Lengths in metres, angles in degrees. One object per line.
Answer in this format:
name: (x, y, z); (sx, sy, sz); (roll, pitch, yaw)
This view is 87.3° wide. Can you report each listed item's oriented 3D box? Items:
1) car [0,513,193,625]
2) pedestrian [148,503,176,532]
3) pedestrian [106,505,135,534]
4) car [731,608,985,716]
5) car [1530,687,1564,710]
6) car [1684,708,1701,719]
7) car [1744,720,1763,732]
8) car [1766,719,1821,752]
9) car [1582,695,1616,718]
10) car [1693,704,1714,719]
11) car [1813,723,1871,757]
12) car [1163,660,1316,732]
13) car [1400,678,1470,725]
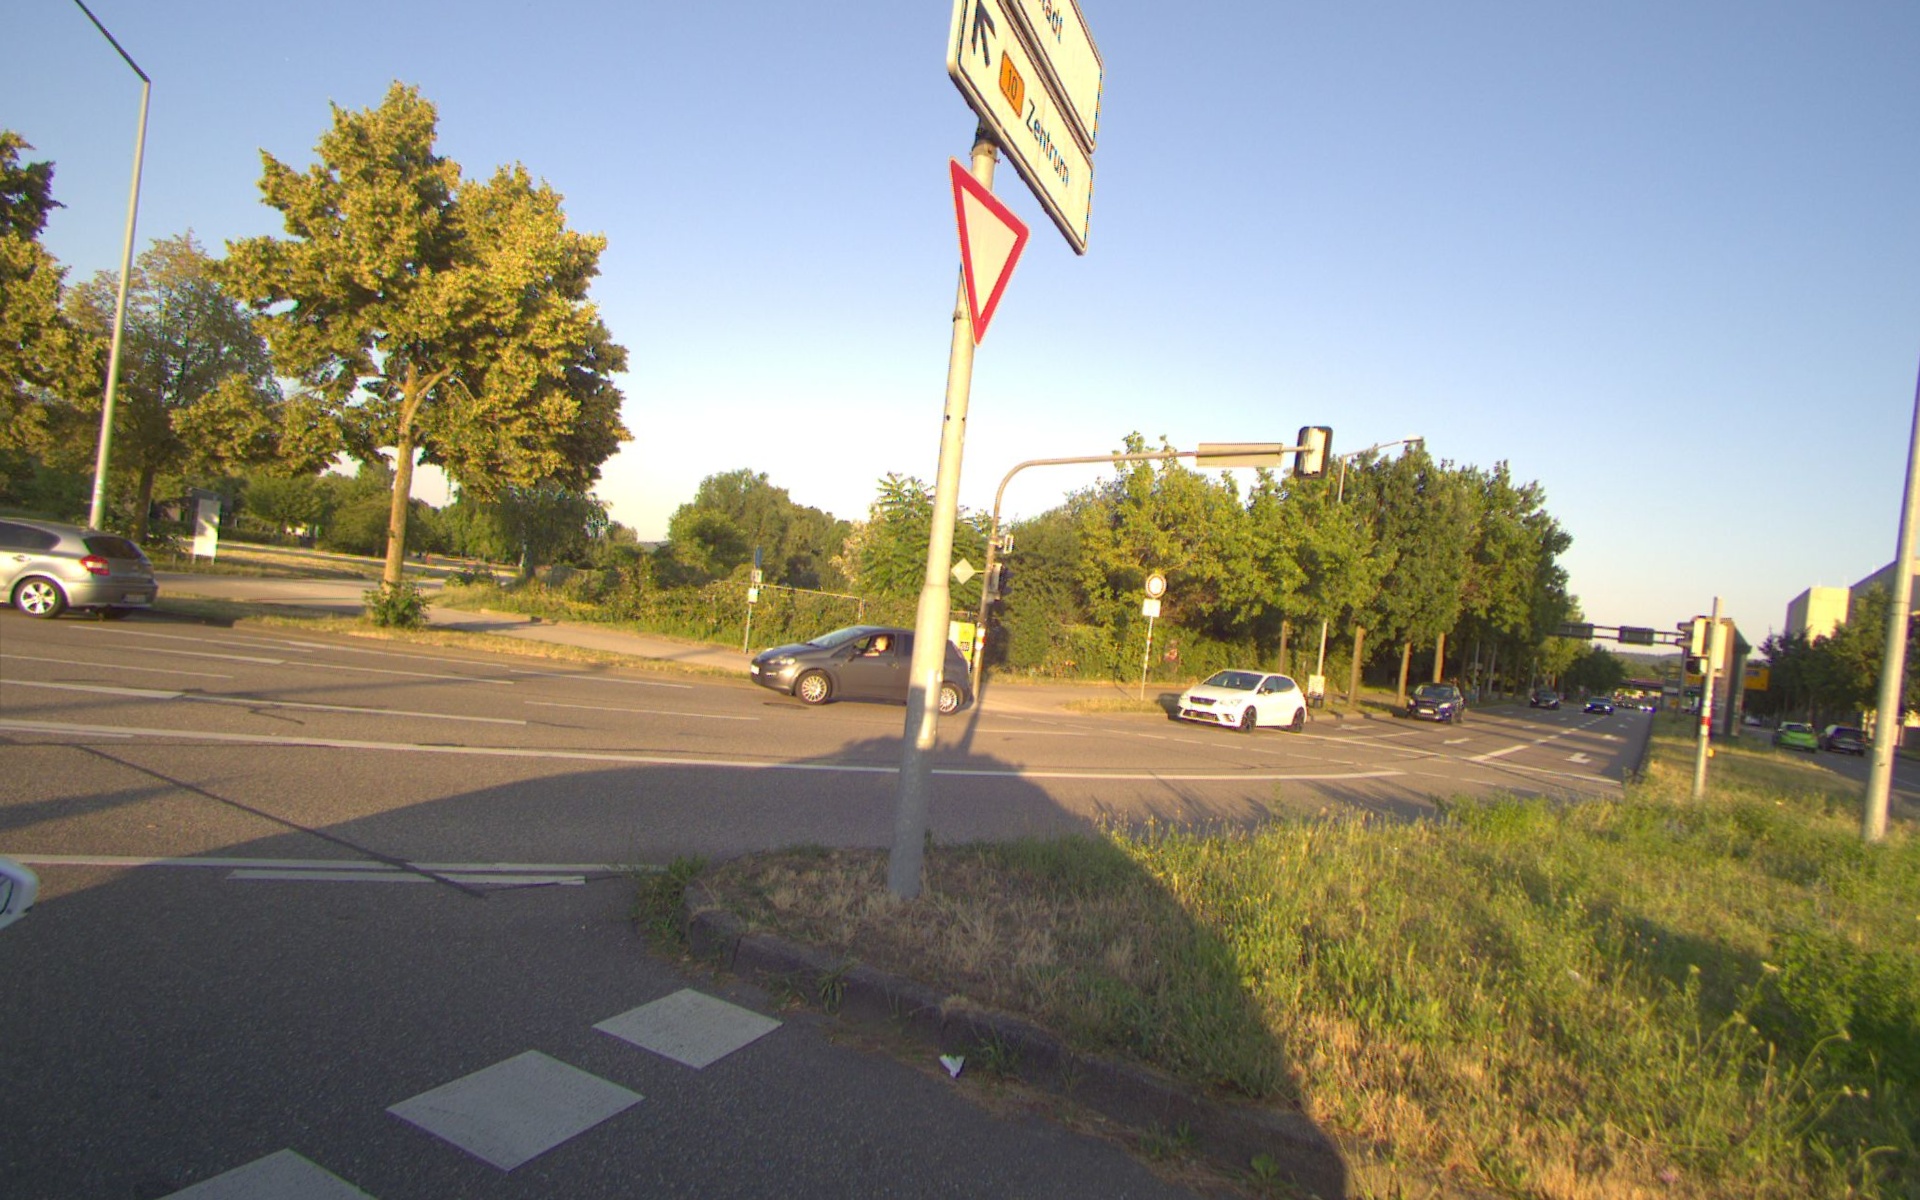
car: (-14.605, -0.600, 15.347); (4.093, 1.407, 1.865); (7, -1, -10)
pedestrian: (-51.206, -5.289, 64.562); (0.896, 1.637, 1.070); (7, 0, 34)
pedestrian: (-52.788, -5.039, 63.273); (0.896, 1.637, 1.070); (7, 0, 34)
car: (-1.848, 1.131, 18.270); (4.111, 1.470, 1.858); (8, -3, -26)
car: (47.122, 7.887, 80.684); (1.968, 1.523, 4.610); (7, -1, 33)
car: (123.131, 19.073, 169.061); (1.968, 1.648, 3.990); (7, -1, 34)
car: (117.646, 18.719, 149.212); (1.970, 1.444, 4.184); (6, -1, 37)
car: (45.788, 7.393, 55.320); (1.662, 1.437, 3.992); (6, -1, 32)
car: (51.360, 8.543, 80.859); (1.969, 1.523, 4.758); (7, -1, 35)
car: (100.952, 15.149, 136.592); (1.968, 1.648, 3.990); (7, -1, 34)
car: (52.572, 8.336, 60.052); (1.705, 1.596, 4.322); (7, -1, 31)
car: (6.835, 2.348, 24.382); (1.845, 1.470, 3.949); (1, -4, 44)
car: (19.819, 4.225, 41.853); (1.885, 1.602, 4.170); (7, -1, 34)
